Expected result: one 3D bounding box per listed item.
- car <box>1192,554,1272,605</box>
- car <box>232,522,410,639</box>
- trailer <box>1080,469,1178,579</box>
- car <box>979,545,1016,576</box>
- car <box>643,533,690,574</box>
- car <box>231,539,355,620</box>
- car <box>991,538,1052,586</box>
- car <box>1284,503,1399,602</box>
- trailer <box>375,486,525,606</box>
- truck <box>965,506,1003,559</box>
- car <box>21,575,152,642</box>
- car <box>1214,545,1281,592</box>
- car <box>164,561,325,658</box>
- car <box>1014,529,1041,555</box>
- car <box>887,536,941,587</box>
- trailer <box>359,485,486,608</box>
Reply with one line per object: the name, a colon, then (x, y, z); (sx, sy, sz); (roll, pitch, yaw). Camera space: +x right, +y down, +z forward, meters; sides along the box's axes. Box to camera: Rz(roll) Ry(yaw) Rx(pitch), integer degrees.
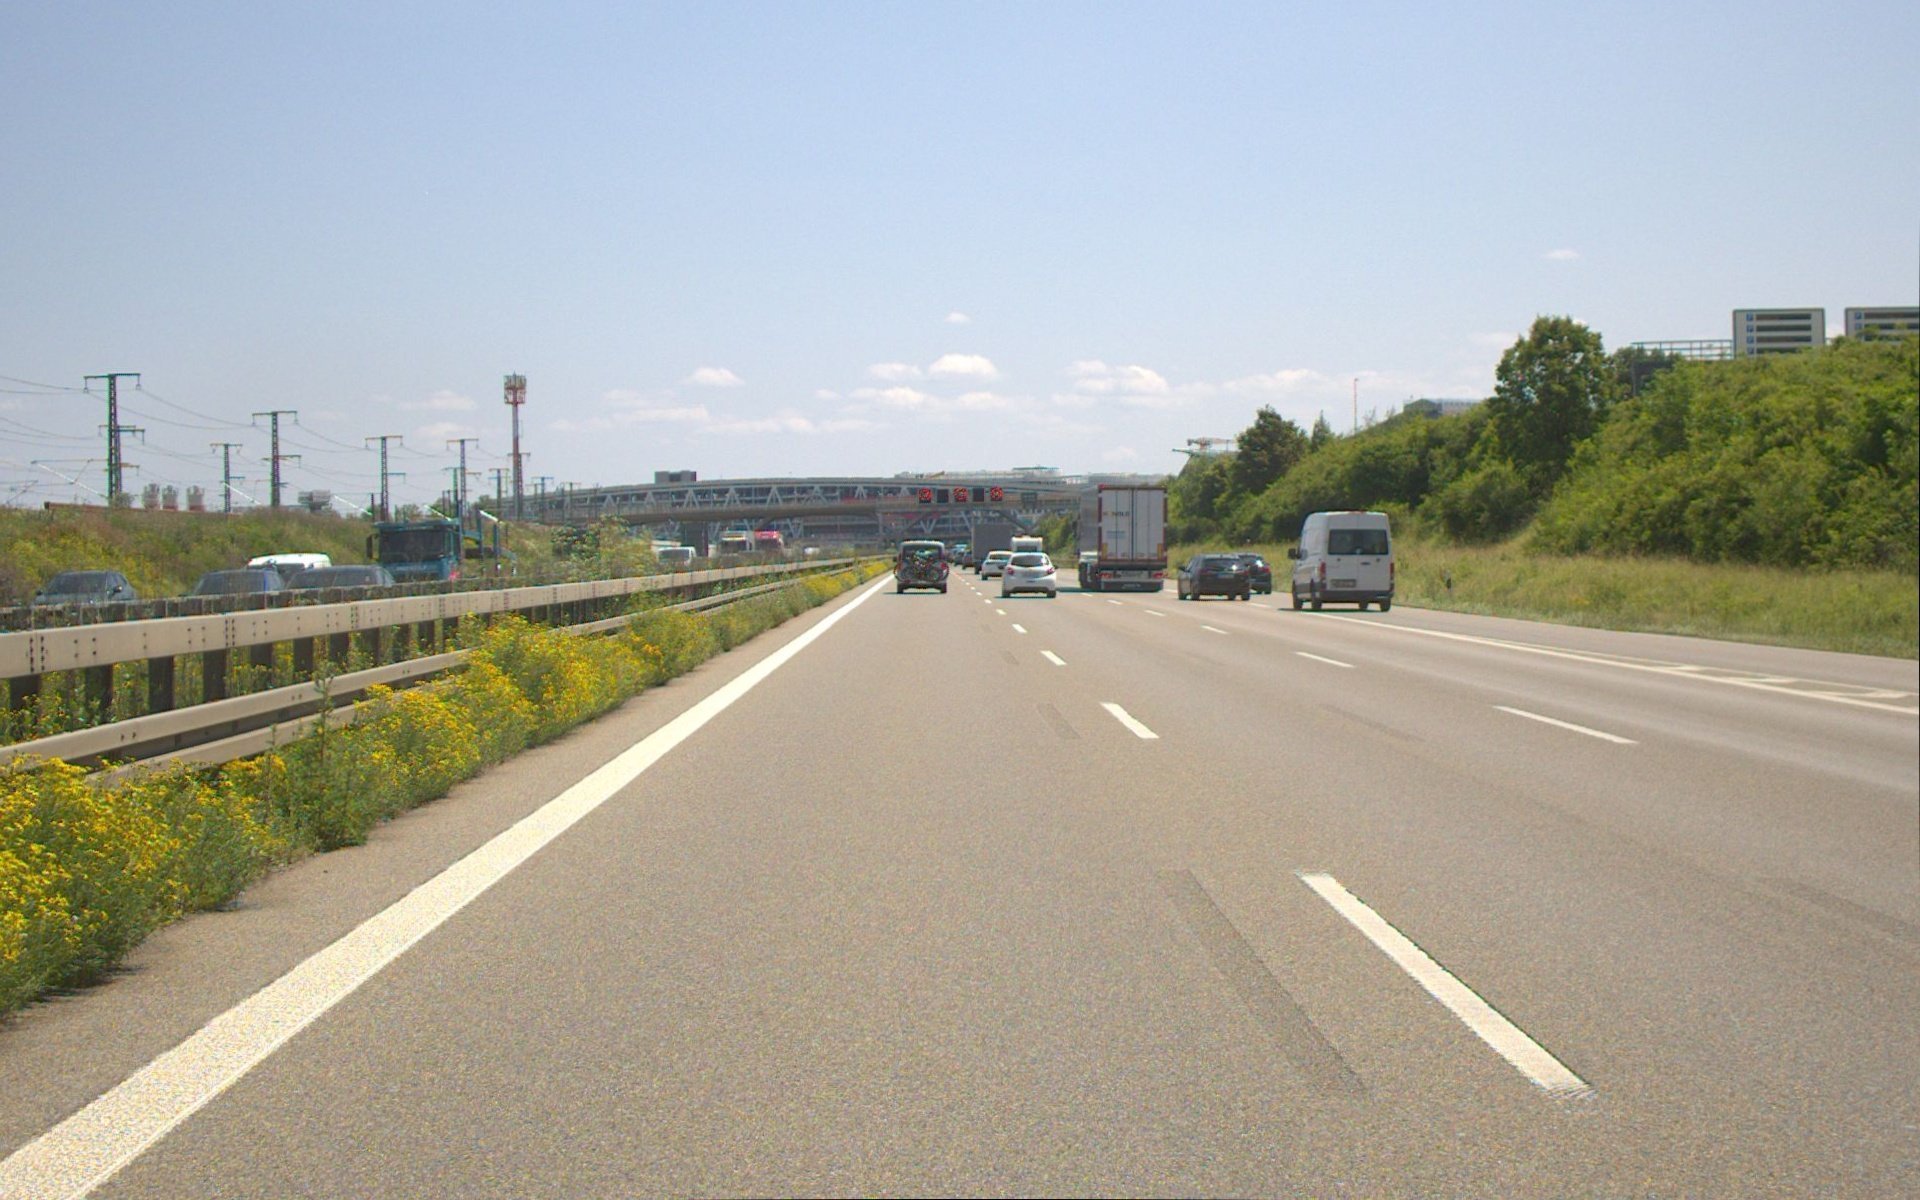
car: (8.488, -0.635, 107.553); (1.993, 1.503, 4.000); (1, 0, -3)
car: (-9.753, -0.321, 52.760); (1.993, 1.714, 4.000); (0, 1, 0)
trailer: (6.442, -2.916, 132.371); (3.177, 4.045, 9.440); (-1, 1, 0)
car: (1.954, -2.034, 177.825); (1.881, 1.521, 4.000); (1, 0, 1)
car: (-14.511, -2.318, 170.309); (1.993, 2.007, 5.433); (0, 1, -1)
car: (-15.830, -0.522, 81.820); (1.920, 1.794, 5.197); (-2, 1, 0)
car: (2.015, -1.228, 111.810); (1.881, 1.521, 4.000); (1, 0, 2)
car: (9.932, -1.252, 89.901); (2.274, 2.519, 5.400); (0, 1, -1)
trailer: (-17.525, -1.875, 119.313); (3.050, 3.854, 15.978); (-1, 1, -1)
truck: (1.544, -4.406, 223.711); (2.355, 3.404, 6.057); (0, 1, 0)
car: (-20.673, 0.181, 81.522); (1.920, 1.413, 4.584); (-2, 1, 0)
car: (10.441, -1.127, 124.994); (1.993, 1.590, 4.000); (1, 0, -1)
car: (-13.138, 0.142, 63.416); (1.920, 1.605, 5.397); (-2, 1, -2)
car: (5.156, -4.434, 262.355); (1.993, 2.007, 4.437); (-1, 1, 1)
car: (-1.605, -1.341, 121.440); (1.881, 1.769, 4.000); (-1, 0, 0)
trailer: (-17.448, -1.754, 112.004); (3.050, 3.854, 7.204); (-1, 1, -1)
